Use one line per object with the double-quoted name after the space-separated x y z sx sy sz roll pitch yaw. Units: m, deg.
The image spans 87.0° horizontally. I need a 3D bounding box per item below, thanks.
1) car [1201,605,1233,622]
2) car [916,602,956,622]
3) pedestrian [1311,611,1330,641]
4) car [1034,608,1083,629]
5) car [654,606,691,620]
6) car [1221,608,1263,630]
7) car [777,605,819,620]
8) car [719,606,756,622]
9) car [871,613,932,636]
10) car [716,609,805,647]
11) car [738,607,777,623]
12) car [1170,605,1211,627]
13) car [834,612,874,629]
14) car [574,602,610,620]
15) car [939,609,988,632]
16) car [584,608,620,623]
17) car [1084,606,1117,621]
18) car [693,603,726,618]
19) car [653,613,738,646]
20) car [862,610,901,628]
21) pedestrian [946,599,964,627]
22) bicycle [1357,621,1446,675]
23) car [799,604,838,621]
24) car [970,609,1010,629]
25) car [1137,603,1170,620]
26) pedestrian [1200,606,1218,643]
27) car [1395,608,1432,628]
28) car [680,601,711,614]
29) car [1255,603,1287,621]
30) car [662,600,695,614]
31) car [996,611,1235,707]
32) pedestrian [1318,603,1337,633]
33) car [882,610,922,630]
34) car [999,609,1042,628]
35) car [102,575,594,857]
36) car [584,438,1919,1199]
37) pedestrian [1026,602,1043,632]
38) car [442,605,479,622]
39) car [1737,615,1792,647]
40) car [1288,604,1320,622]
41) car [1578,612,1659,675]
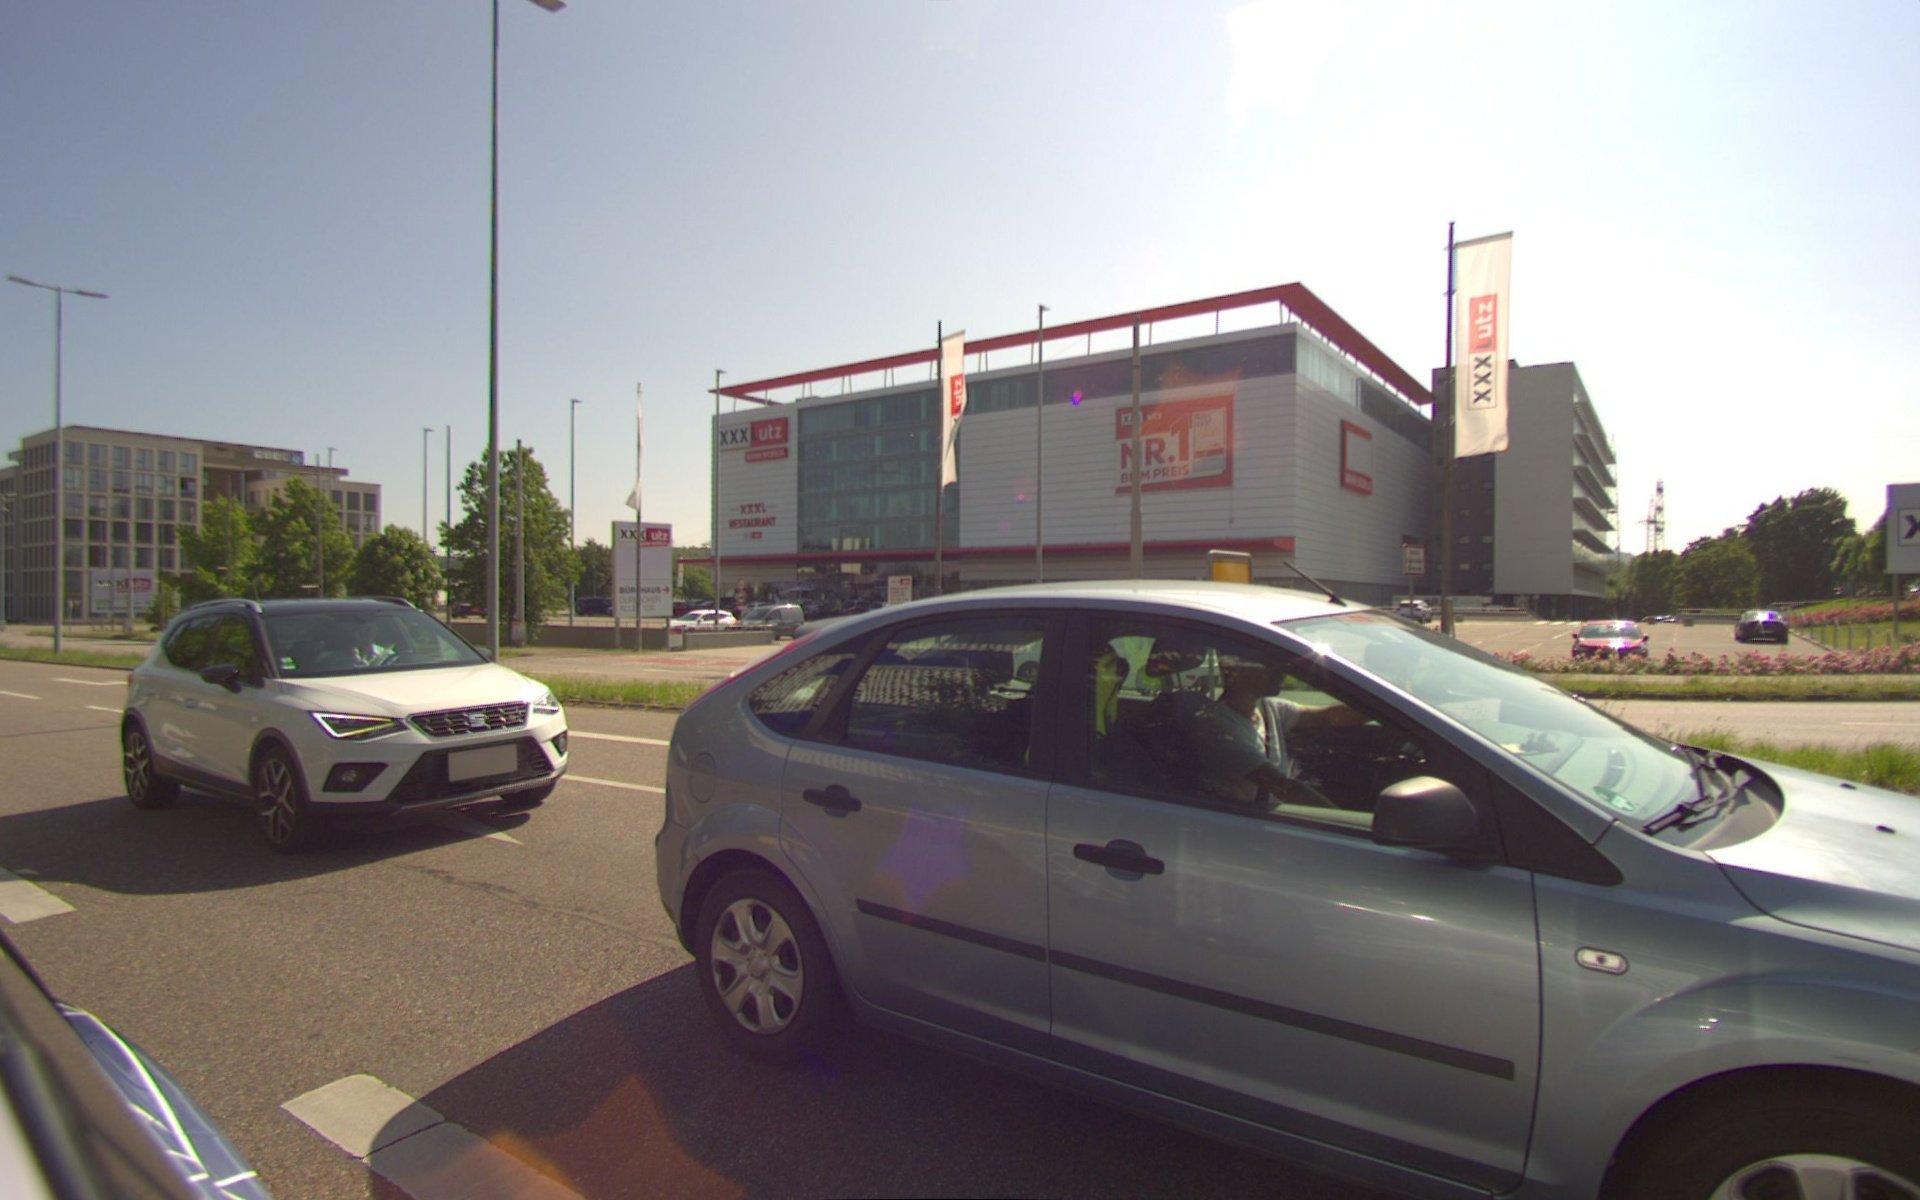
19.974 1.019 78.470 1.438 1.234 3.061 1 0 35 "car"
-1.998 0.991 84.444 1.657 1.642 3.535 -1 -1 31 "car"
24.288 1.747 68.151 0.974 2.029 0.937 -1 -1 37 "pedestrian"
6.949 1.279 71.036 1.512 1.340 4.264 1 0 35 "car"
-27.152 1.216 95.694 1.512 1.340 3.187 1 0 35 "car"
18.507 1.240 66.379 1.775 1.340 3.061 1 0 35 "car"
-13.543 1.015 84.752 1.477 1.208 3.469 1 0 35 "car"
-19.863 1.228 90.369 1.512 1.340 3.061 1 0 35 "car"
-3.698 1.546 65.132 1.512 1.340 4.450 1 0 35 "car"
-10.235 1.402 52.119 1.941 1.856 4.374 0 0 35 "car"
-17.640 1.307 88.220 1.700 1.340 3.061 1 0 35 "car"
14.605 0.997 64.018 1.512 1.340 3.061 1 0 35 "car"
-8.443 1.619 80.639 1.512 1.303 3.061 1 0 35 "car"
-37.355 1.146 102.837 1.688 1.771 3.061 1 0 35 "car"
0.245 1.239 61.811 1.512 1.340 3.061 1 0 35 "car"
-34.540 1.469 97.697 1.512 1.340 3.061 1 0 35 "car"
11.729 1.102 84.551 1.512 1.234 3.061 1 0 35 "car"
-24.586 1.021 99.430 1.216 1.340 3.061 1 0 35 "car"
-14.338 1.577 55.028 1.866 1.640 4.376 -1 -1 34 "car"
-6.155 1.465 79.667 1.512 1.340 3.061 1 0 35 "car"
-0.339 0.958 73.421 0.850 2.029 1.024 1 -2 -40 "pedestrian"
9.134 0.977 20.979 1.639 1.030 0.328 1 -1 33 "bicycle"
-11.671 1.045 83.730 1.512 1.340 3.061 1 0 35 "car"
2.168 1.341 73.204 1.512 1.340 3.061 1 0 35 "car"
15.816 0.935 82.748 1.512 1.340 3.061 1 0 35 "car"
12.986 1.289 52.744 0.770 1.909 0.500 1 -2 -24 "pedestrian"
31.702 1.225 70.662 1.748 1.340 3.631 1 0 35 "car"
-26.440 0.743 101.199 1.293 1.340 2.790 1 0 35 "car"
23.872 0.896 77.695 1.512 1.340 3.061 1 0 35 "car"
-28.726 0.695 103.348 1.512 1.395 3.061 1 0 35 "car"
2.828 1.011 18.893 4.082 1.558 1.776 0 0 39 "car"
25.170 1.215 69.383 0.974 2.029 0.937 -1 -2 37 "pedestrian"
-4.045 1.383 70.894 1.311 1.340 2.842 1 0 35 "car"
4.317 1.314 71.848 1.585 1.340 3.376 -1 -1 34 "car"
-4.489 0.701 7.226 3.862 1.509 1.616 -3 -1 36 "car"
0.894 0.575 2.918 4.165 1.585 1.691 -1 -1 36 "car"
4.783 1.091 64.719 0.750 1.872 0.846 -1 -2 36 "pedestrian"
-47.892 1.331 97.030 1.770 1.568 2.743 -1 -1 35 "car"
37.352 1.403 47.032 1.725 1.340 3.814 1 0 35 "car"
25.646 0.949 75.450 1.512 1.340 3.061 1 0 35 "car"
19.150 1.187 29.561 1.820 1.617 4.152 1 0 31 "car"
